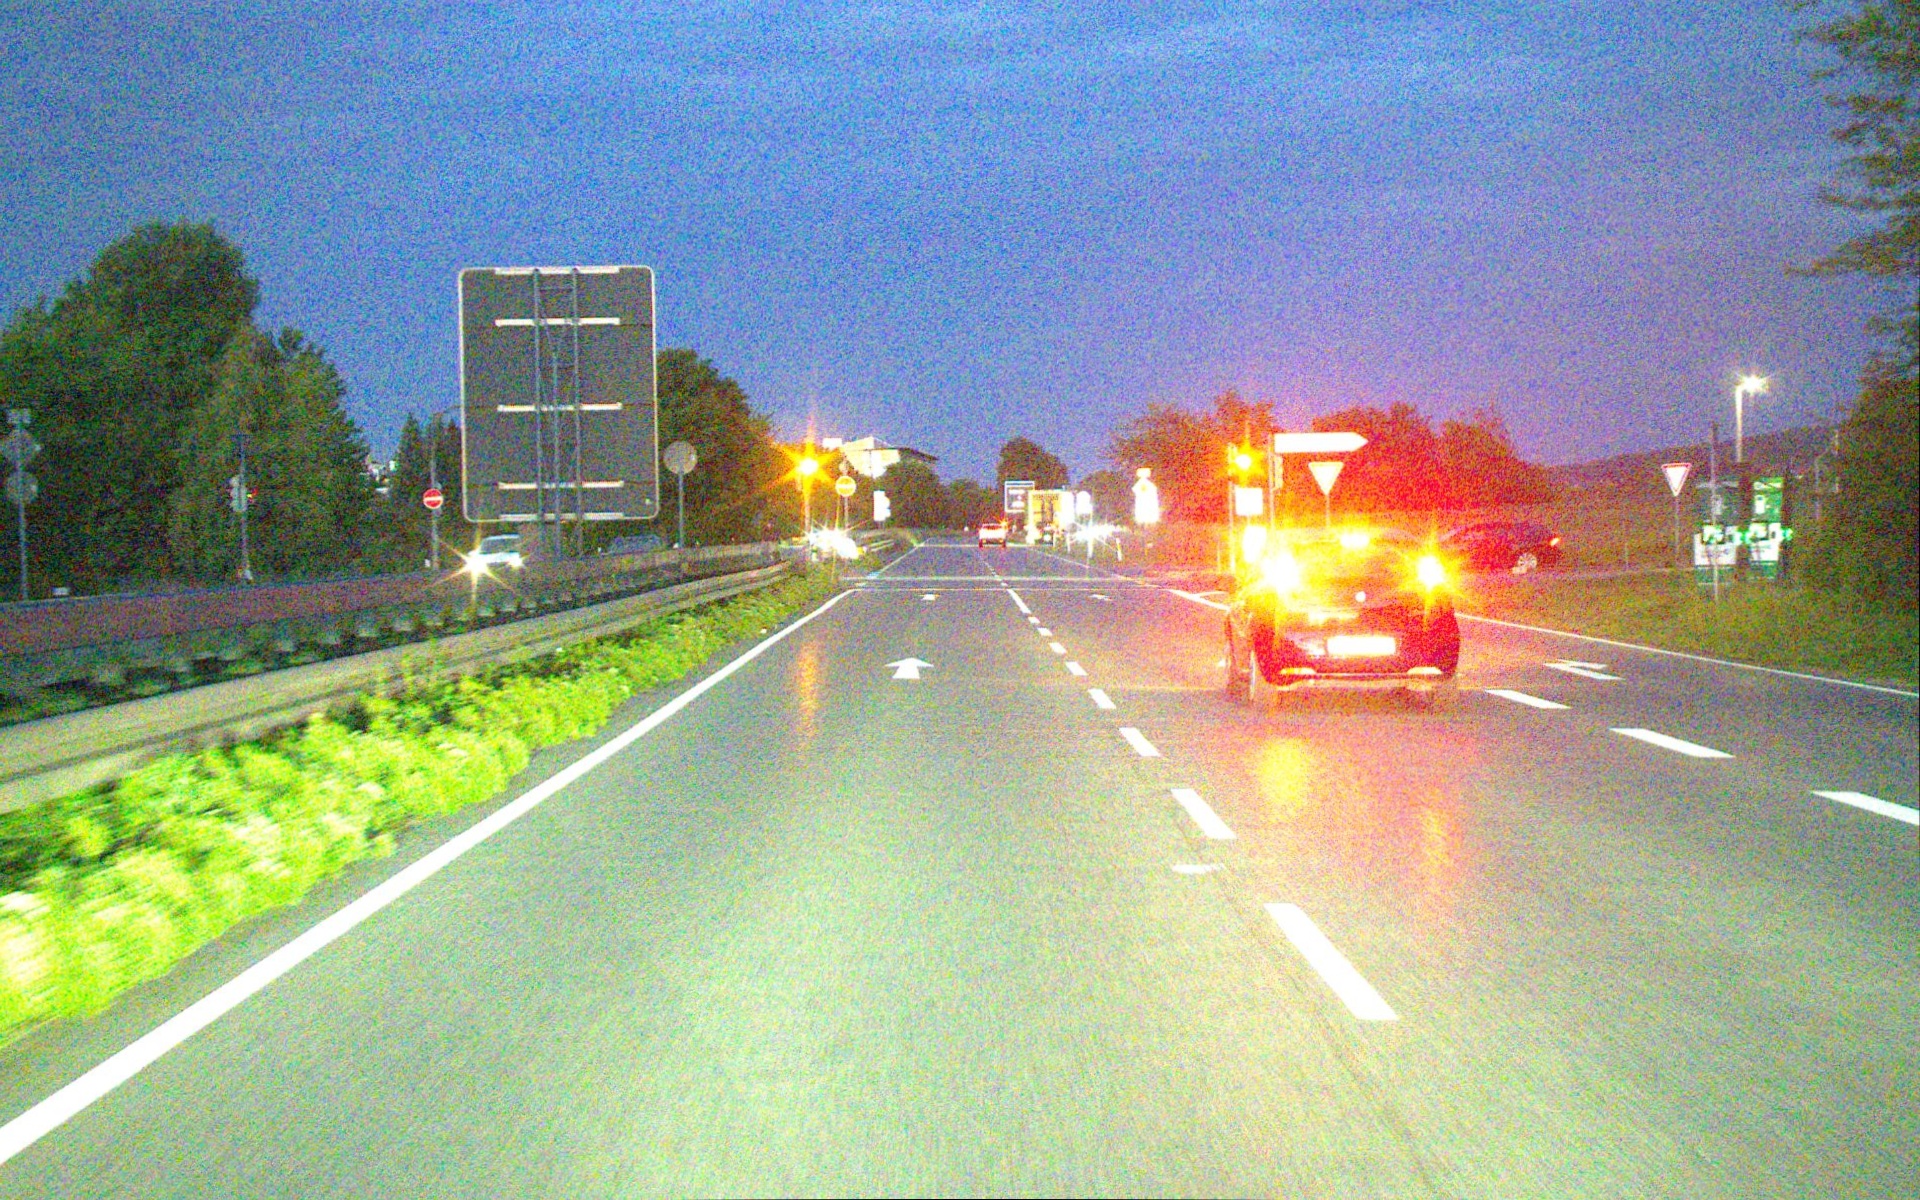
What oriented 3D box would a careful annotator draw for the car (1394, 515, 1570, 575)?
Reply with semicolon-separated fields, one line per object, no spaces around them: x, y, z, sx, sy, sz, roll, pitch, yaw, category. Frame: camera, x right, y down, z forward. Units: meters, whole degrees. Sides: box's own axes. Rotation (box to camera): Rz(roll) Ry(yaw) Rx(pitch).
14.599;-1.553;96.279;4.601;1.515;2.000;-2;1;1;car

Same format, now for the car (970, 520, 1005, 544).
1.883;-4.639;233.706;2.273;1.626;4.000;-1;1;-1;car

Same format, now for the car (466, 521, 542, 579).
-13.384;-1.480;101.076;1.794;1.665;4.502;0;1;-2;car

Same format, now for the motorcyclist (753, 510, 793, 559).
-6.129;-2.155;112.603;1.137;1.579;0.972;-1;1;6;motorcyclist

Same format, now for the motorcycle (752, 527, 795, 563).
-6.119;-1.810;112.765;0.979;1.095;2.508;-1;1;6;motorcycle

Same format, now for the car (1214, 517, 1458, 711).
3.093;0.066;28.977;1.670;1.515;4.106;0;1;1;car
